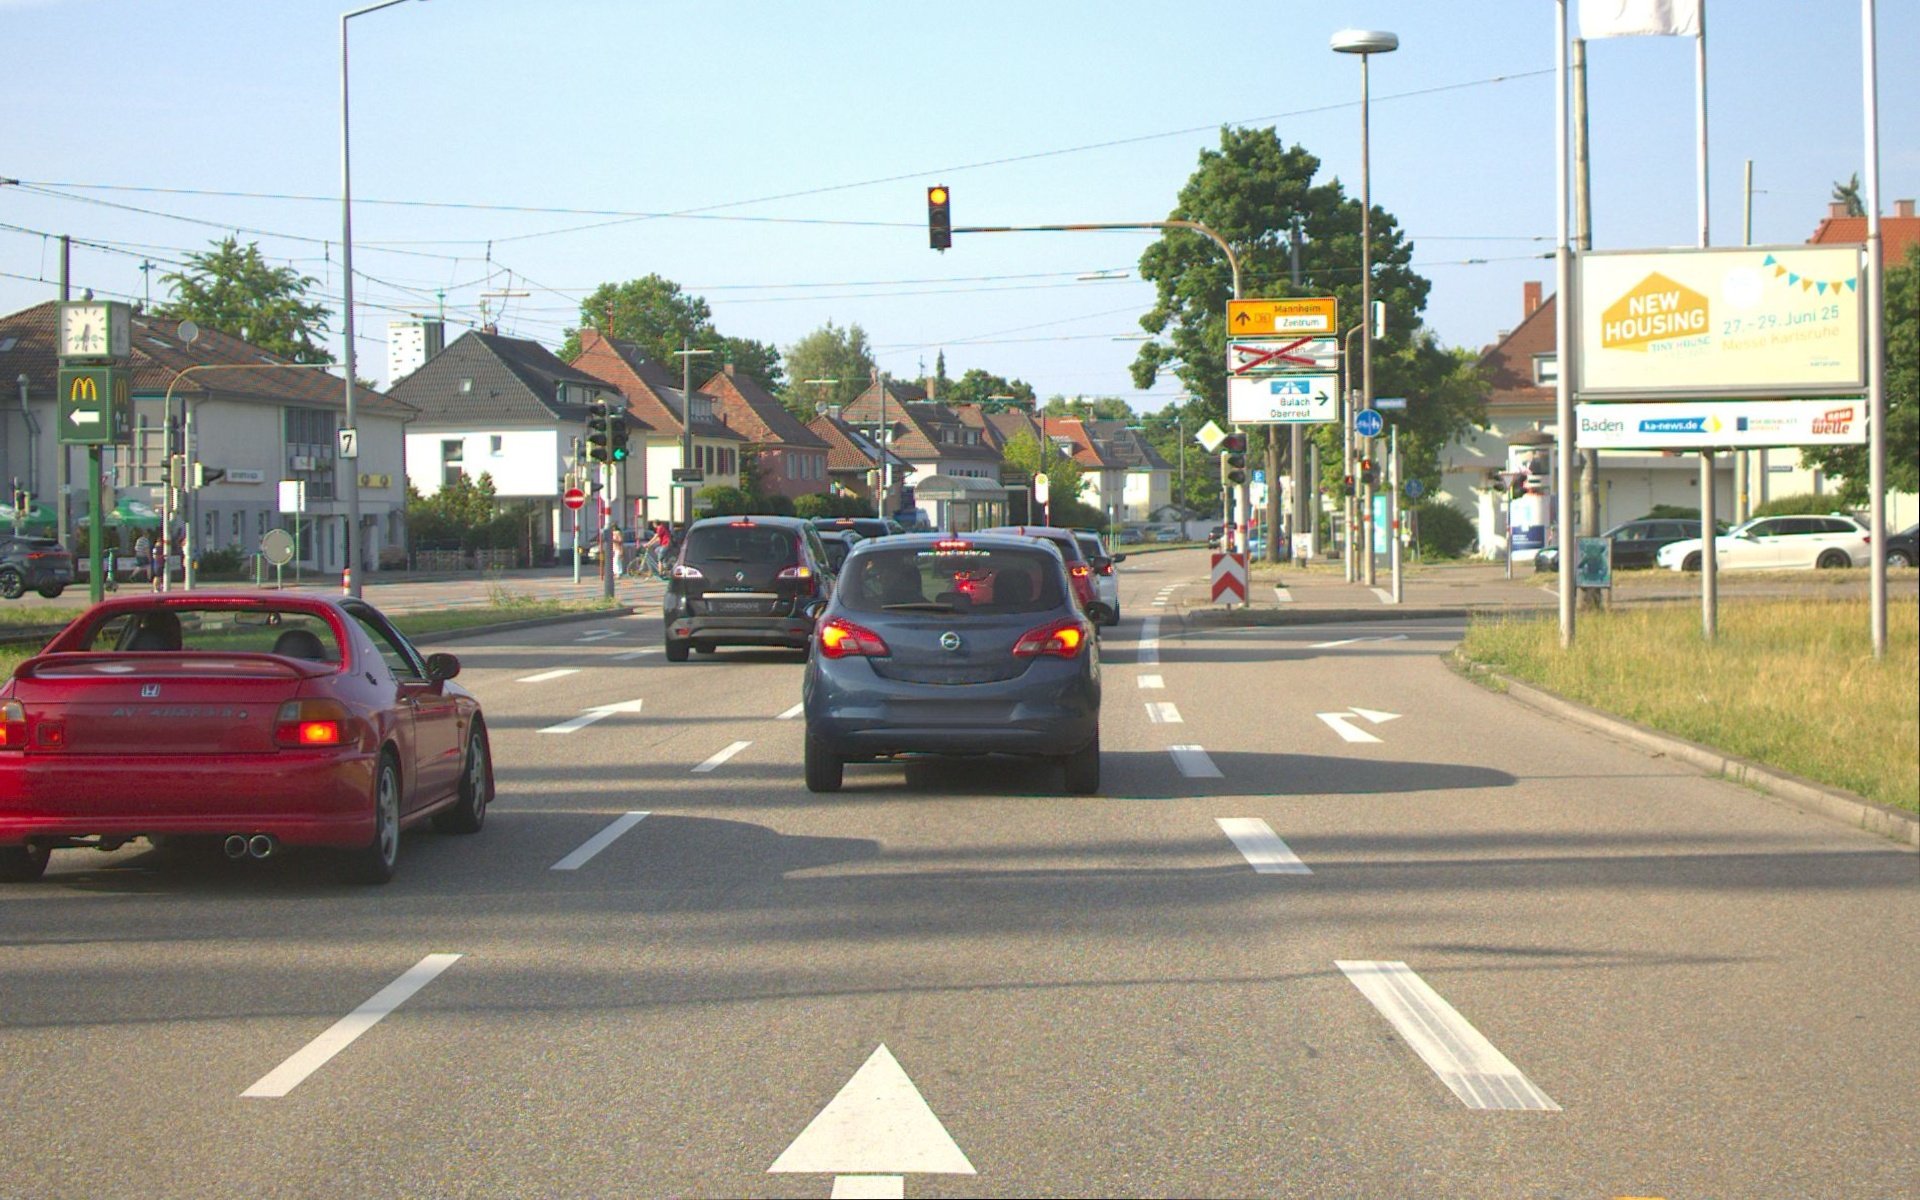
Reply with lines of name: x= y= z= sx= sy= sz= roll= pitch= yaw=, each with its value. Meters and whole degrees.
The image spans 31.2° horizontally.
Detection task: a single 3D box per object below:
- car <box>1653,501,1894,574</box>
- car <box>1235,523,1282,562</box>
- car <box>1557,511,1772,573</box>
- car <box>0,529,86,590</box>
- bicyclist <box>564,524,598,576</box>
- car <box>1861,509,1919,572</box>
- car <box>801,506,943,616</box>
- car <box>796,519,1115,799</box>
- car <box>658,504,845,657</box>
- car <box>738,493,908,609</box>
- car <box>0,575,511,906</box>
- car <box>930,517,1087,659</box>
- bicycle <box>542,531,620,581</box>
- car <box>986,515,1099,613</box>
car: x=18.352 y=-1.417 z=77.753 sx=5.096 sy=1.557 sz=1.839 roll=-1 pitch=1 yaw=6
car: x=11.010 y=-2.116 z=126.780 sx=1.675 sy=1.393 sz=3.999 roll=1 pitch=1 yaw=5
car: x=16.683 y=-1.381 z=81.555 sx=4.825 sy=1.406 sz=1.715 roll=-1 pitch=1 yaw=6
car: x=-24.118 y=-0.997 z=85.875 sx=3.988 sy=1.481 sz=2.000 roll=-1 pitch=1 yaw=6
bicyclist: x=-10.534 y=-1.383 z=95.582 sx=0.884 sy=1.426 sz=1.137 roll=1 pitch=0 yaw=-4
car: x=23.394 y=-1.428 z=80.930 sx=3.988 sy=1.448 sz=1.715 roll=-1 pitch=1 yaw=6
car: x=-1.351 y=-0.646 z=54.350 sx=1.507 sy=1.645 sz=4.743 roll=-1 pitch=1 yaw=7
car: x=-0.077 y=0.275 z=20.966 sx=1.741 sy=1.500 sz=4.223 roll=-1 pitch=2 yaw=-1
car: x=-2.342 y=-0.265 z=39.487 sx=1.763 sy=1.665 sz=4.084 roll=0 pitch=1 yaw=2
car: x=-1.810 y=-0.691 z=46.720 sx=1.700 sy=1.503 sz=4.553 roll=0 pitch=1 yaw=6
car: x=-3.192 y=0.539 z=15.478 sx=1.731 sy=1.202 sz=3.847 roll=1 pitch=1 yaw=1
car: x=0.611 y=-0.177 z=40.064 sx=1.706 sy=1.546 sz=3.978 roll=-1 pitch=1 yaw=2
bicycle: x=-10.532 y=-1.217 z=95.582 sx=2.073 sy=1.343 sz=1.109 roll=1 pitch=0 yaw=-4
car: x=1.312 y=-0.581 z=53.436 sx=1.656 sy=1.438 sz=4.014 roll=-1 pitch=1 yaw=3
